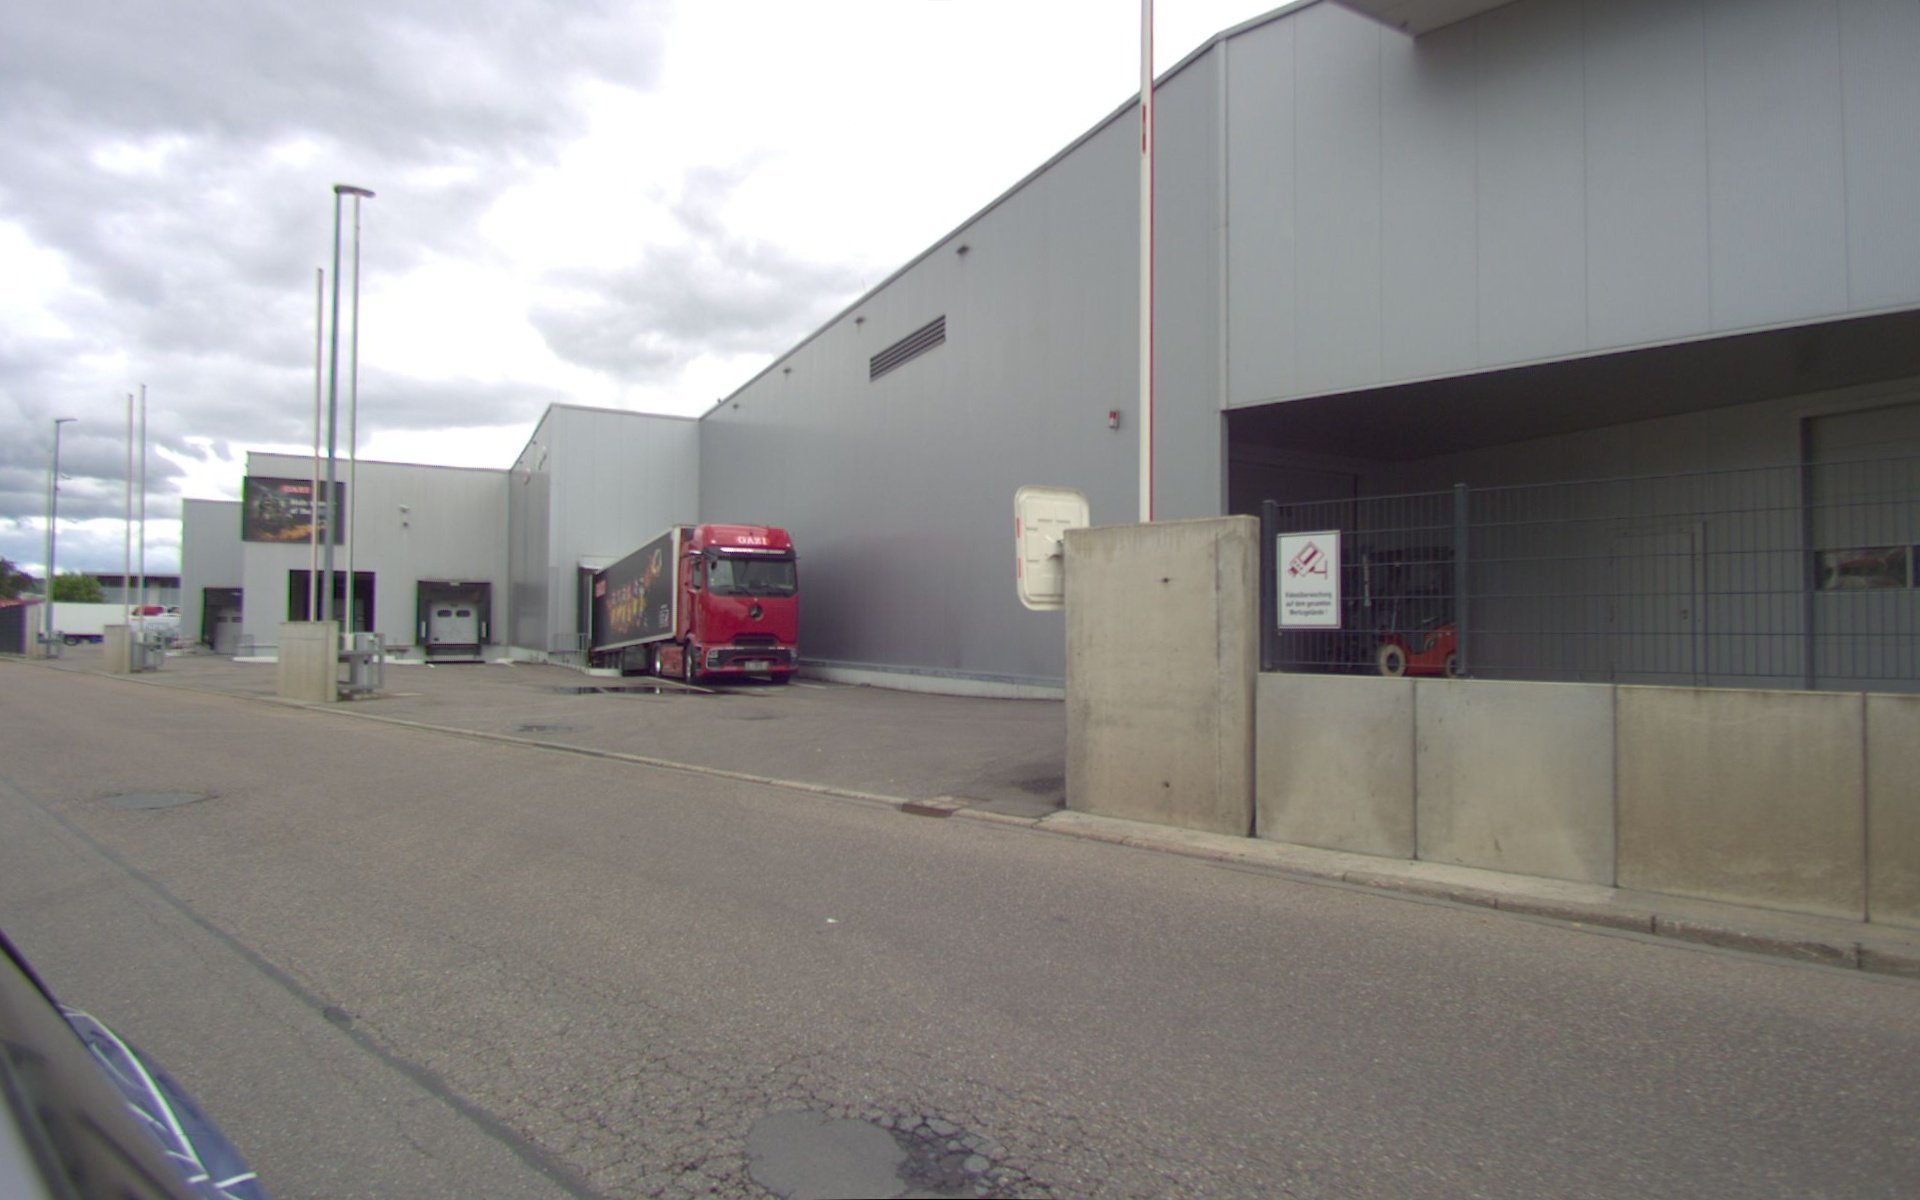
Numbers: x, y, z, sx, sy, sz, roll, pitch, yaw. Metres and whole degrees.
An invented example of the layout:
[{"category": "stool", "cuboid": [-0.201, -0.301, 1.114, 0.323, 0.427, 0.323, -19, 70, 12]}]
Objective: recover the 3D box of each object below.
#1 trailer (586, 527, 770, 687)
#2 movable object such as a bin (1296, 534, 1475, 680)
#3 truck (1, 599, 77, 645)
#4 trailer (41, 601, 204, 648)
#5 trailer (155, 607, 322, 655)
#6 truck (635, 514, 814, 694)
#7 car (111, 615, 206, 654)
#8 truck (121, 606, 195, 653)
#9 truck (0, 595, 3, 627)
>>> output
[{"category": "trailer", "cuboid": [-9.319, 0.404, 31.830, 2.704, 4.062, 12.656, 1, -2, -29]}, {"category": "movable object such as a bin", "cuboid": [6.989, 0.160, 16.706, 2.117, 2.239, 1.758, 2, -3, -27]}, {"category": "truck", "cuboid": [-87.491, 2.165, 96.150, 3.047, 4.164, 4.815, -2, -5, 41]}, {"category": "trailer", "cuboid": [-82.418, 2.506, 100.041, 11.842, 4.164, 3.057, 3, -4, -31]}, {"category": "trailer", "cuboid": [-71.168, 3.173, 100.309, 12.962, 4.245, 3.058, 3, -4, -27]}, {"category": "truck", "cuboid": [-6.381, 0.216, 26.495, 2.704, 4.062, 7.114, 1, -2, -29]}, {"category": "car", "cuboid": [-60.146, 2.574, 76.069, 5.341, 2.751, 2.248, 0, -2, -31]}, {"category": "truck", "cuboid": [-77.024, 2.868, 97.298, 4.797, 4.237, 3.058, 3, -4, -27]}, {"category": "truck", "cuboid": [-69.493, 1.727, 70.714, 5.629, 4.192, 3.321, -2, -5, 44]}]
